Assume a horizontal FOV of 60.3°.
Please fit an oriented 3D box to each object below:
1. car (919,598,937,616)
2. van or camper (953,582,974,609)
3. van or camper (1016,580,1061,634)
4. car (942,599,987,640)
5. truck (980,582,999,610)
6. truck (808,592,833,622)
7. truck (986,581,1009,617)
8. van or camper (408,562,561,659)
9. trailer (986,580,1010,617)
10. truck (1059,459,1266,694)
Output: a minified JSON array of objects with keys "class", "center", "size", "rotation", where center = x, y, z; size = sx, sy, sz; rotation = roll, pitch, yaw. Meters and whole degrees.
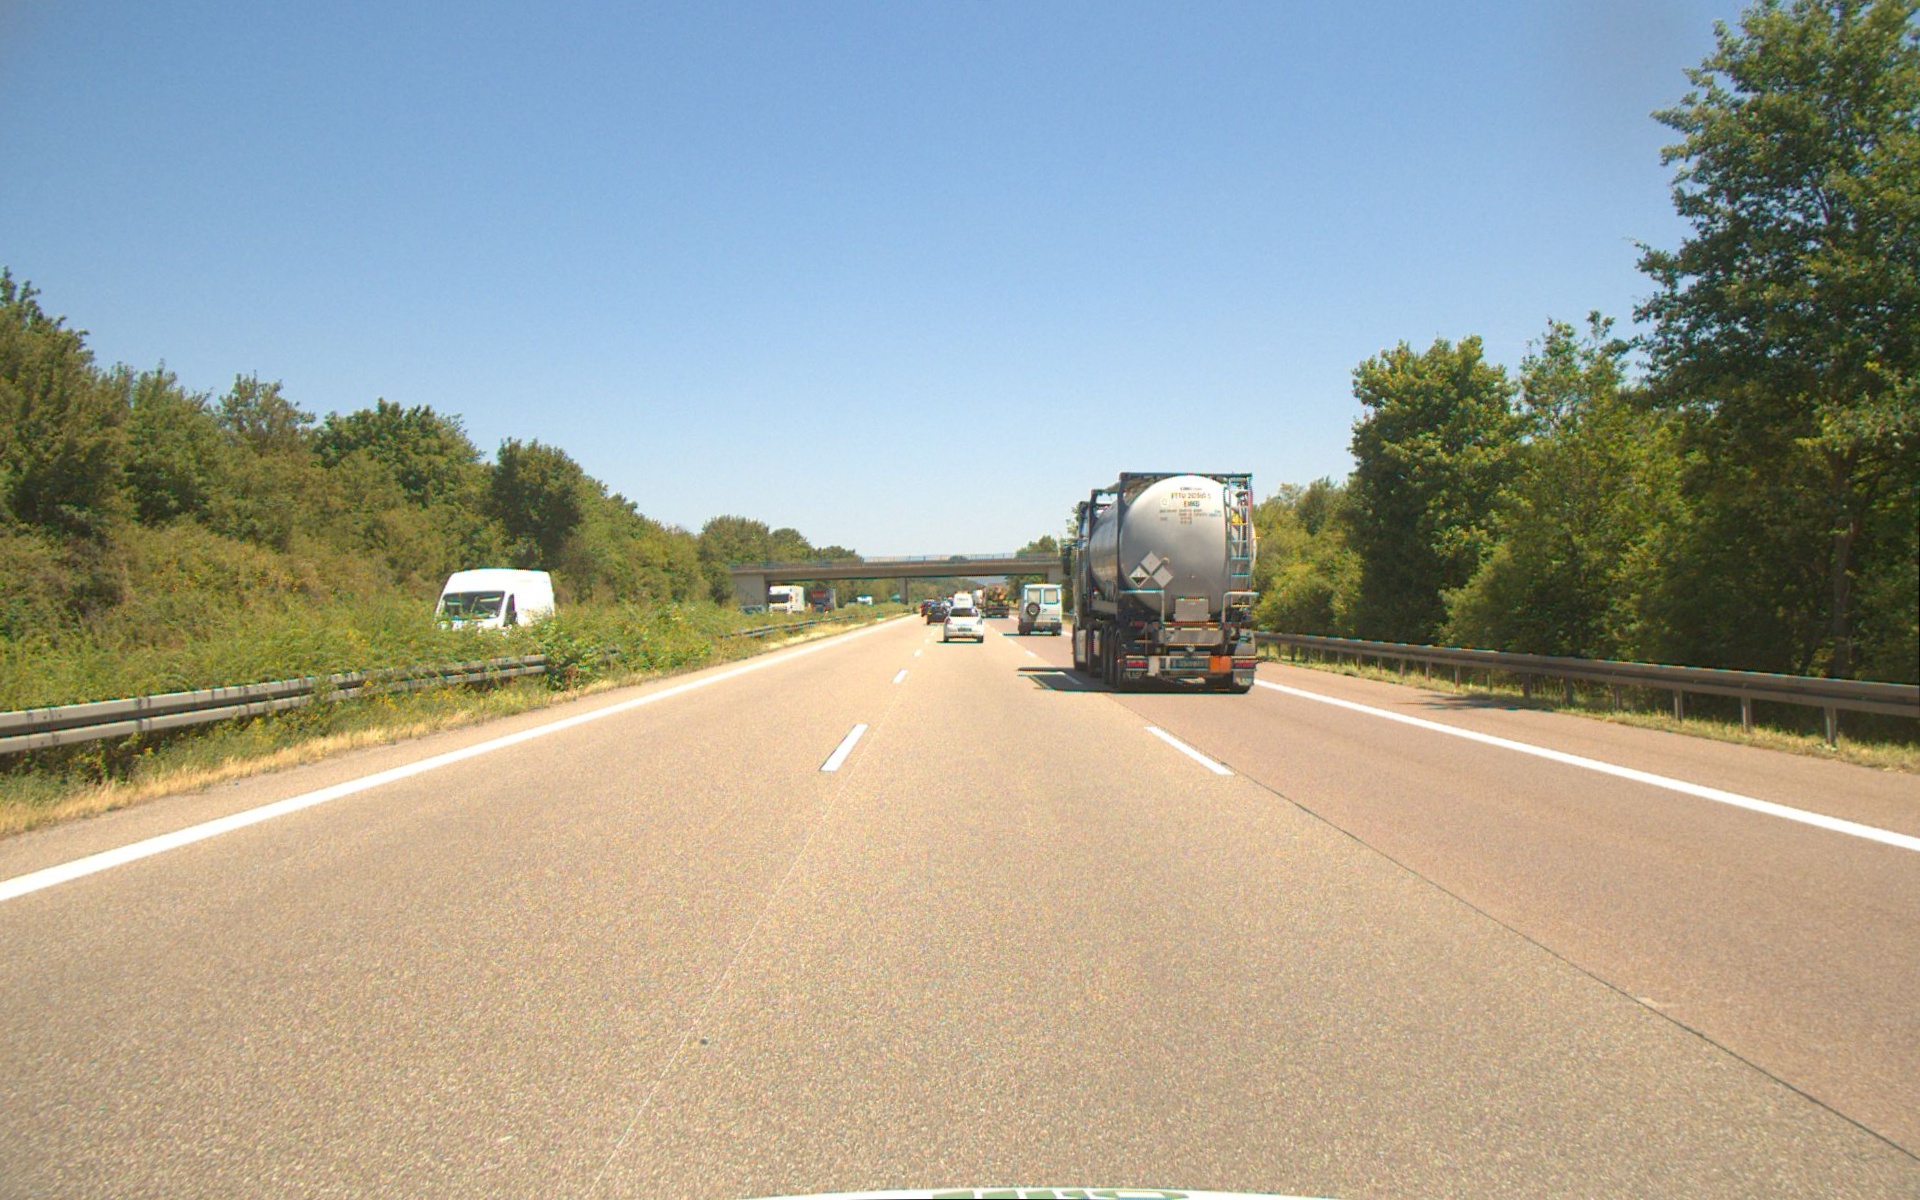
[{"class":"car","center":[-3.644,0.836,190.885],"size":[2.010,2.049,4.175],"rotation":[1,0,-1]},{"class":"van or camper","center":[0.405,-0.436,166.005],"size":[2.016,2.668,5.985],"rotation":[0,0,1]},{"class":"van or camper","center":[4.134,0.359,88.186],"size":[2.070,2.750,6.366],"rotation":[0,0,0]},{"class":"car","center":[0.170,0.819,70.315],"size":[1.819,1.681,3.999],"rotation":[1,0,-1]},{"class":"truck","center":[4.806,-0.621,268.235],"size":[3.015,4.283,16.845],"rotation":[1,0,1]},{"class":"truck","center":[-20.397,1.055,242.036],"size":[3.073,4.305,5.176],"rotation":[1,0,0]},{"class":"truck","center":[4.405,-0.107,194.754],"size":[2.615,4.064,6.636],"rotation":[0,0,1]},{"class":"van or camper","center":[-12.785,0.273,44.980],"size":[2.376,2.407,6.335],"rotation":[1,0,-1]},{"class":"trailer","center":[4.288,-0.188,187.487],"size":[2.598,4.028,13.637],"rotation":[0,0,1]},{"class":"truck","center":[4.000,-0.386,36.030],"size":[2.741,4.117,13.352],"rotation":[1,0,0]}]
